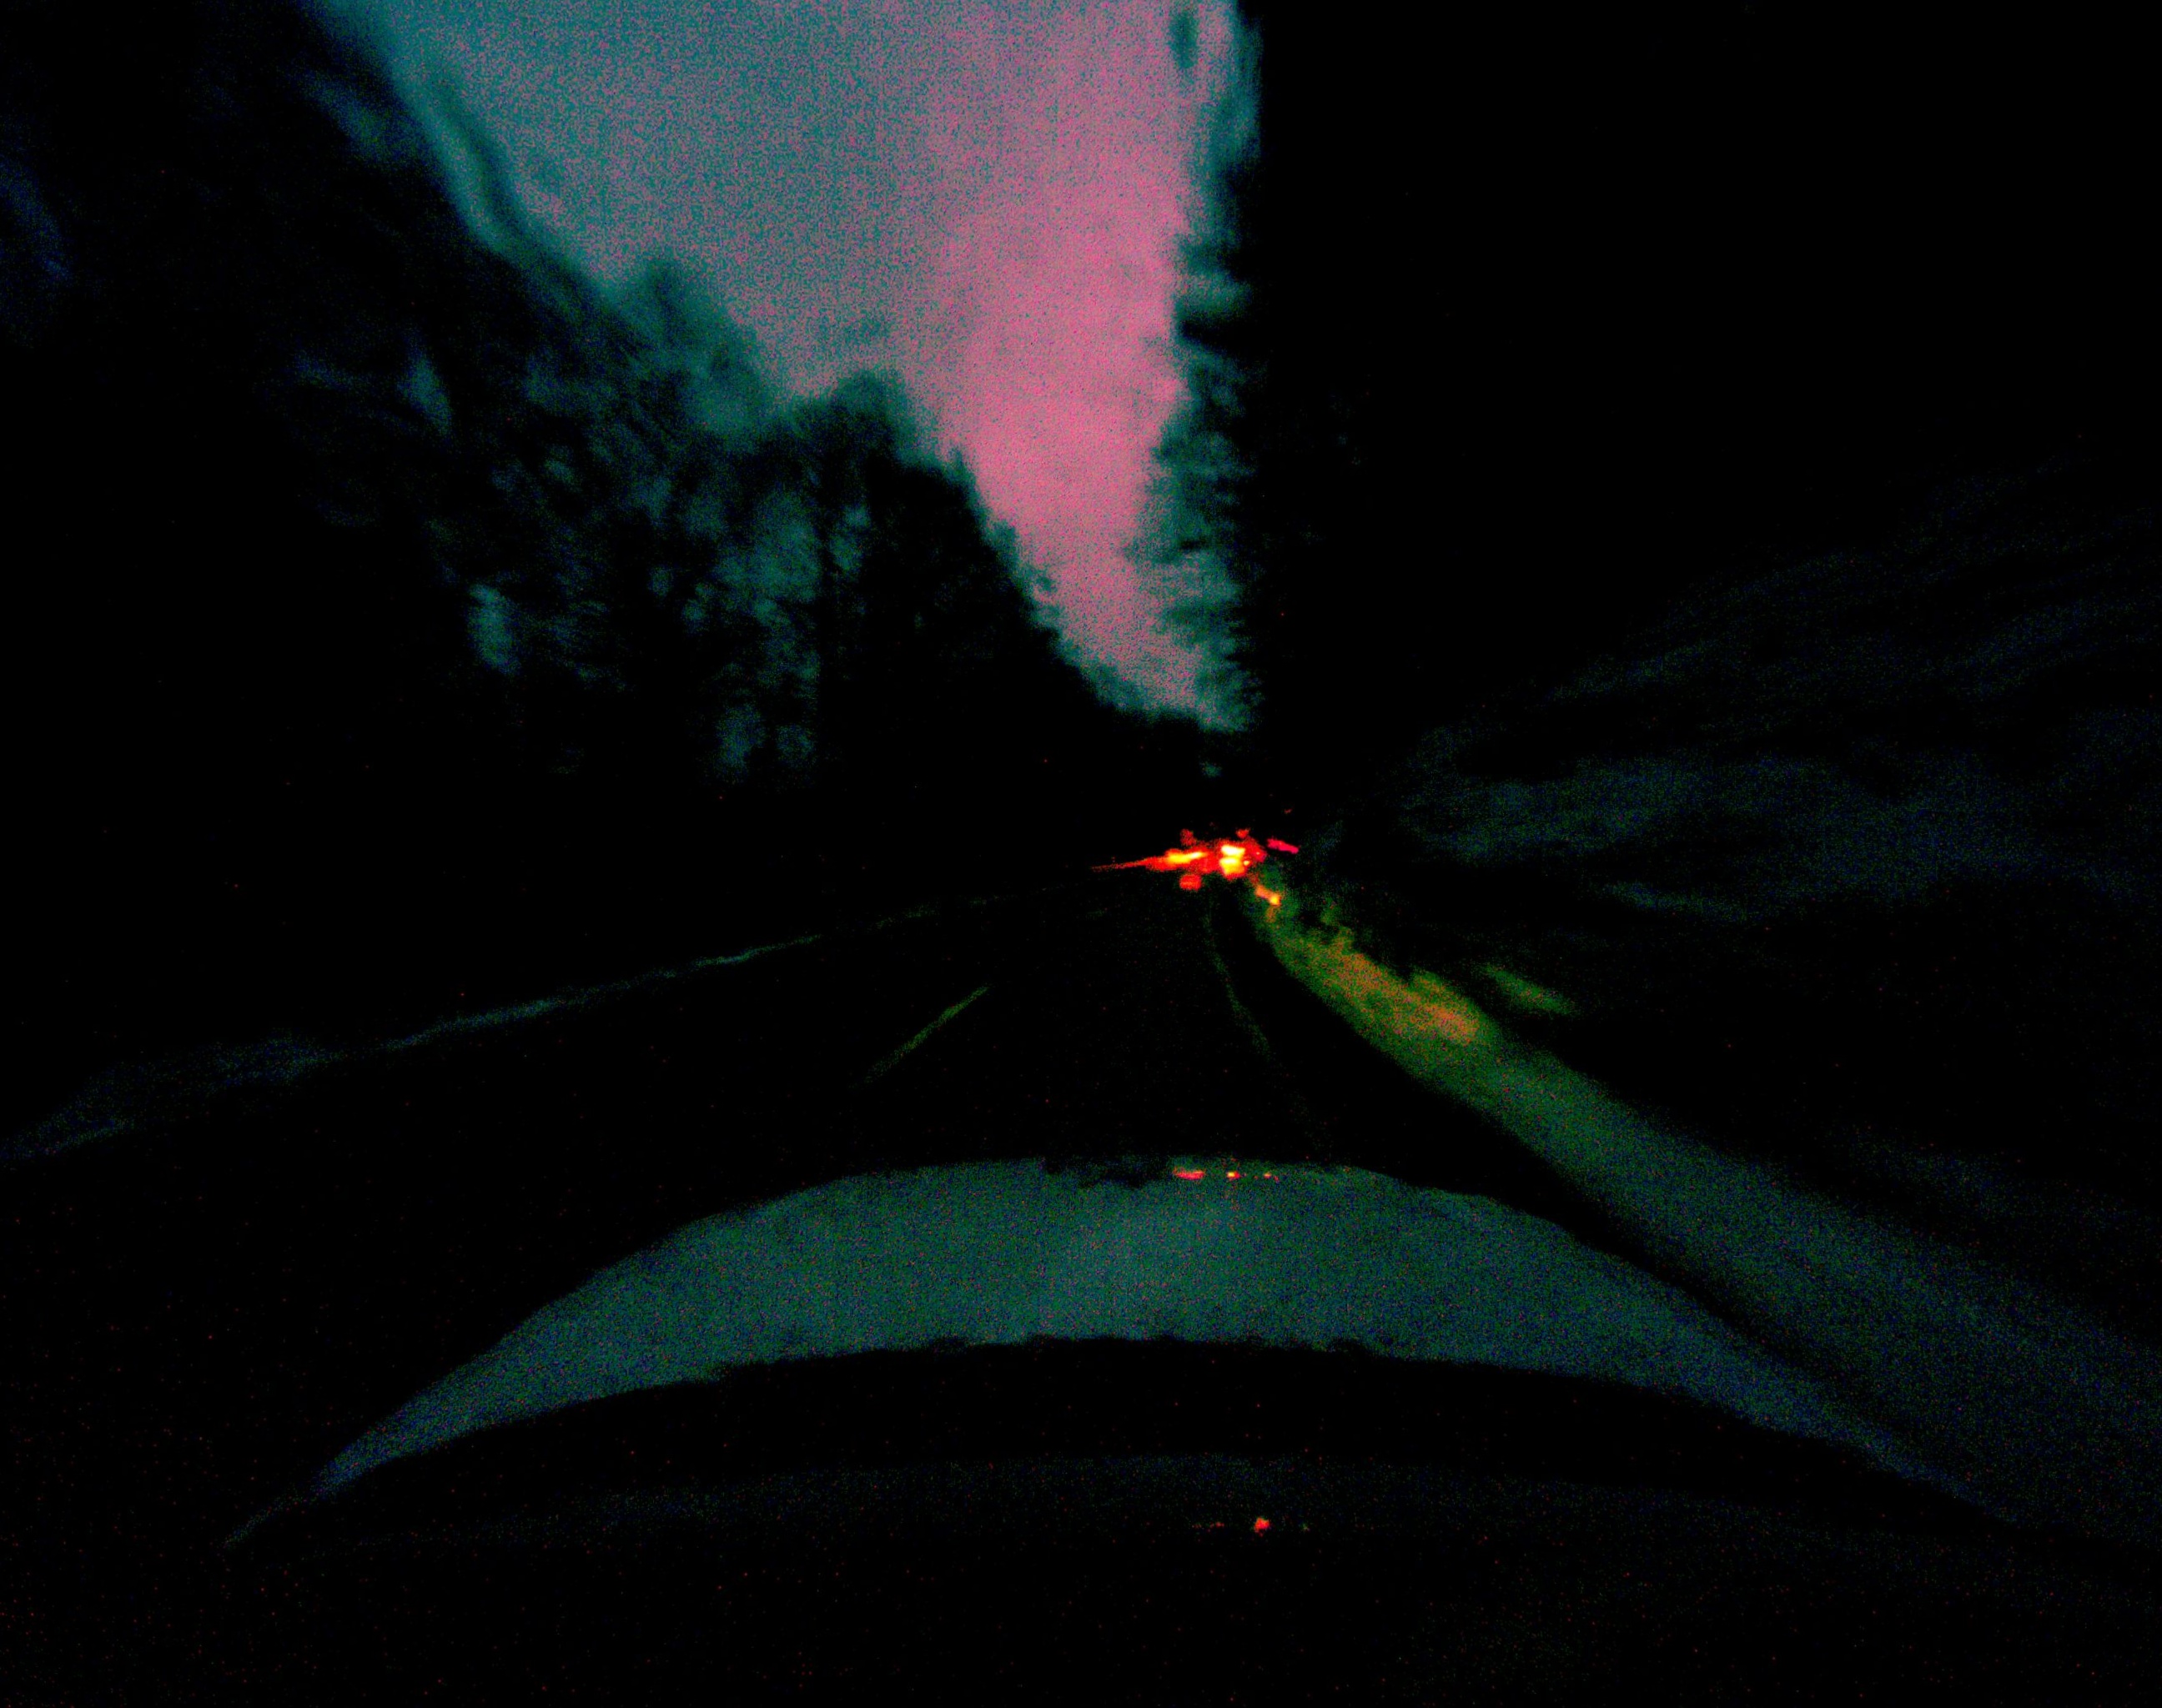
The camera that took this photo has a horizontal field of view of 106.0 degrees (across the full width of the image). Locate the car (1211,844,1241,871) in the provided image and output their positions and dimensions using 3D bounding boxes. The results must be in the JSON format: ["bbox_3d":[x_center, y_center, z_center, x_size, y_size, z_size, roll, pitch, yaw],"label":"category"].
[{"bbox_3d":[12.934,0.341,72.342,2.042,2.151,4.017,-1,-3,18],"label":"car"}]

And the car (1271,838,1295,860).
[{"bbox_3d":[19.266,-0.424,77.562,1.852,1.918,4.019,0,-2,20],"label":"car"}]

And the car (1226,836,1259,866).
[{"bbox_3d":[10.729,-0.188,54.088,1.981,1.873,4.012,-1,-1,11],"label":"car"}]
